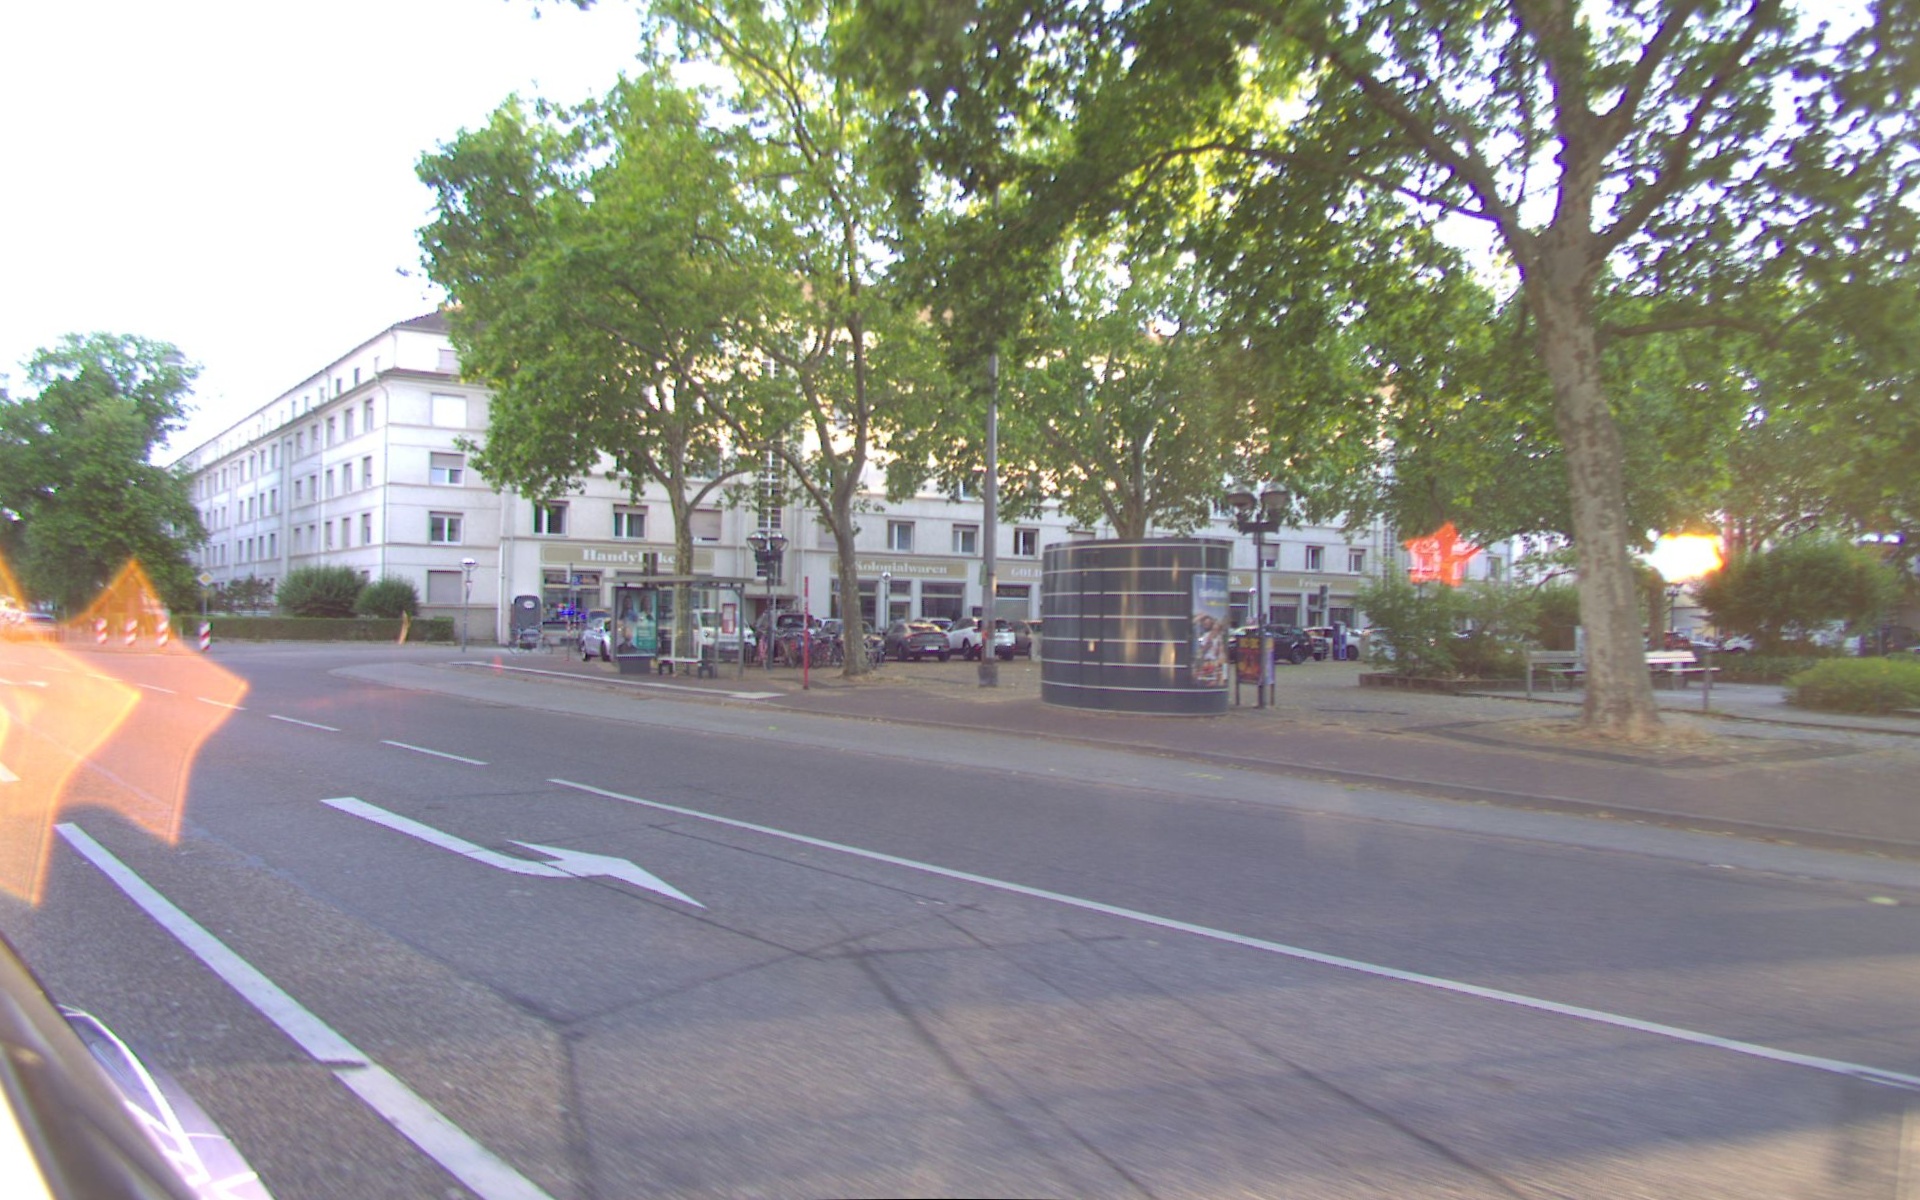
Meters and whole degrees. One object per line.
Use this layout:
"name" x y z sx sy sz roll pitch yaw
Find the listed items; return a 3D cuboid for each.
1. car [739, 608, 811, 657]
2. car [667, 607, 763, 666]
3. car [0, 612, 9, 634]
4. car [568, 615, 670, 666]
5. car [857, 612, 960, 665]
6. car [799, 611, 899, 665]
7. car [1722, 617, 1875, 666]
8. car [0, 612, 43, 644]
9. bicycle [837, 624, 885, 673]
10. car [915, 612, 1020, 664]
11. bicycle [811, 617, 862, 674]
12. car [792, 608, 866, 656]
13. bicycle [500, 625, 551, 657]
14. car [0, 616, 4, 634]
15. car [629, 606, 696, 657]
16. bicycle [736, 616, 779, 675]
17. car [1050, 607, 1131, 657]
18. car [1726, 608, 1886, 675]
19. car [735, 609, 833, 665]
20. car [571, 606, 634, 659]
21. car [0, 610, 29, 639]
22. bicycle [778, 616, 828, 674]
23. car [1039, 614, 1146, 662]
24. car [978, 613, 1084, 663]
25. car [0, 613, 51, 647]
"car" -8.428 1.412 45.700 1.965 1.970 4.656 2 0 -25
"car" -8.270 1.262 33.861 1.965 1.795 4.655 3 -4 -28
"car" -85.658 2.061 89.813 1.866 1.879 4.263 1 0 -43
"car" -11.197 1.342 33.028 1.966 1.515 4.652 3 -4 -34
"car" -1.975 1.431 37.225 1.965 1.795 4.655 3 -4 -28
"car" -4.042 1.390 36.169 1.965 1.795 4.655 3 -4 -28
"car" 36.124 1.820 43.738 1.965 1.953 4.655 3 -4 -28
"car" -53.355 1.557 57.440 1.866 1.703 4.263 1 0 -43
"bicycle" -3.133 1.489 31.707 0.680 1.394 2.754 1 0 -23
"car" 0.198 1.466 38.214 1.965 1.795 4.655 3 -4 -28
"bicycle" -3.849 1.354 31.203 0.795 1.626 2.754 1 0 -23
"car" -6.123 1.435 46.668 1.965 1.970 4.656 2 0 -25
"bicycle" -17.095 1.611 39.869 1.776 1.215 0.649 1 0 -16
"car" -92.556 2.373 96.611 1.866 1.612 4.263 1 0 -43
"car" -12.848 1.317 43.476 1.965 1.970 4.656 2 0 -25
"bicycle" -5.984 1.304 29.787 0.680 1.626 2.754 1 0 -23
"car" 6.907 1.667 54.087 1.965 2.460 4.656 2 0 -25
"car" 24.690 1.248 29.514 4.423 1.795 2.006 3 -4 -28
"car" -6.208 1.324 35.292 1.965 1.795 4.655 3 -4 -28
"car" -14.981 1.304 42.254 1.965 1.970 4.656 2 0 -25
"car" -62.495 1.584 66.484 1.866 1.787 4.263 1 0 -43
"bicycle" -4.794 1.317 30.700 0.795 1.626 2.754 1 0 -23
"car" 5.268 1.555 40.801 1.965 1.795 4.655 3 -4 -28
"car" 2.678 1.523 39.334 1.965 1.795 4.655 3 -4 -28
"car" -47.414 1.503 51.310 1.866 1.612 4.004 1 0 -43
